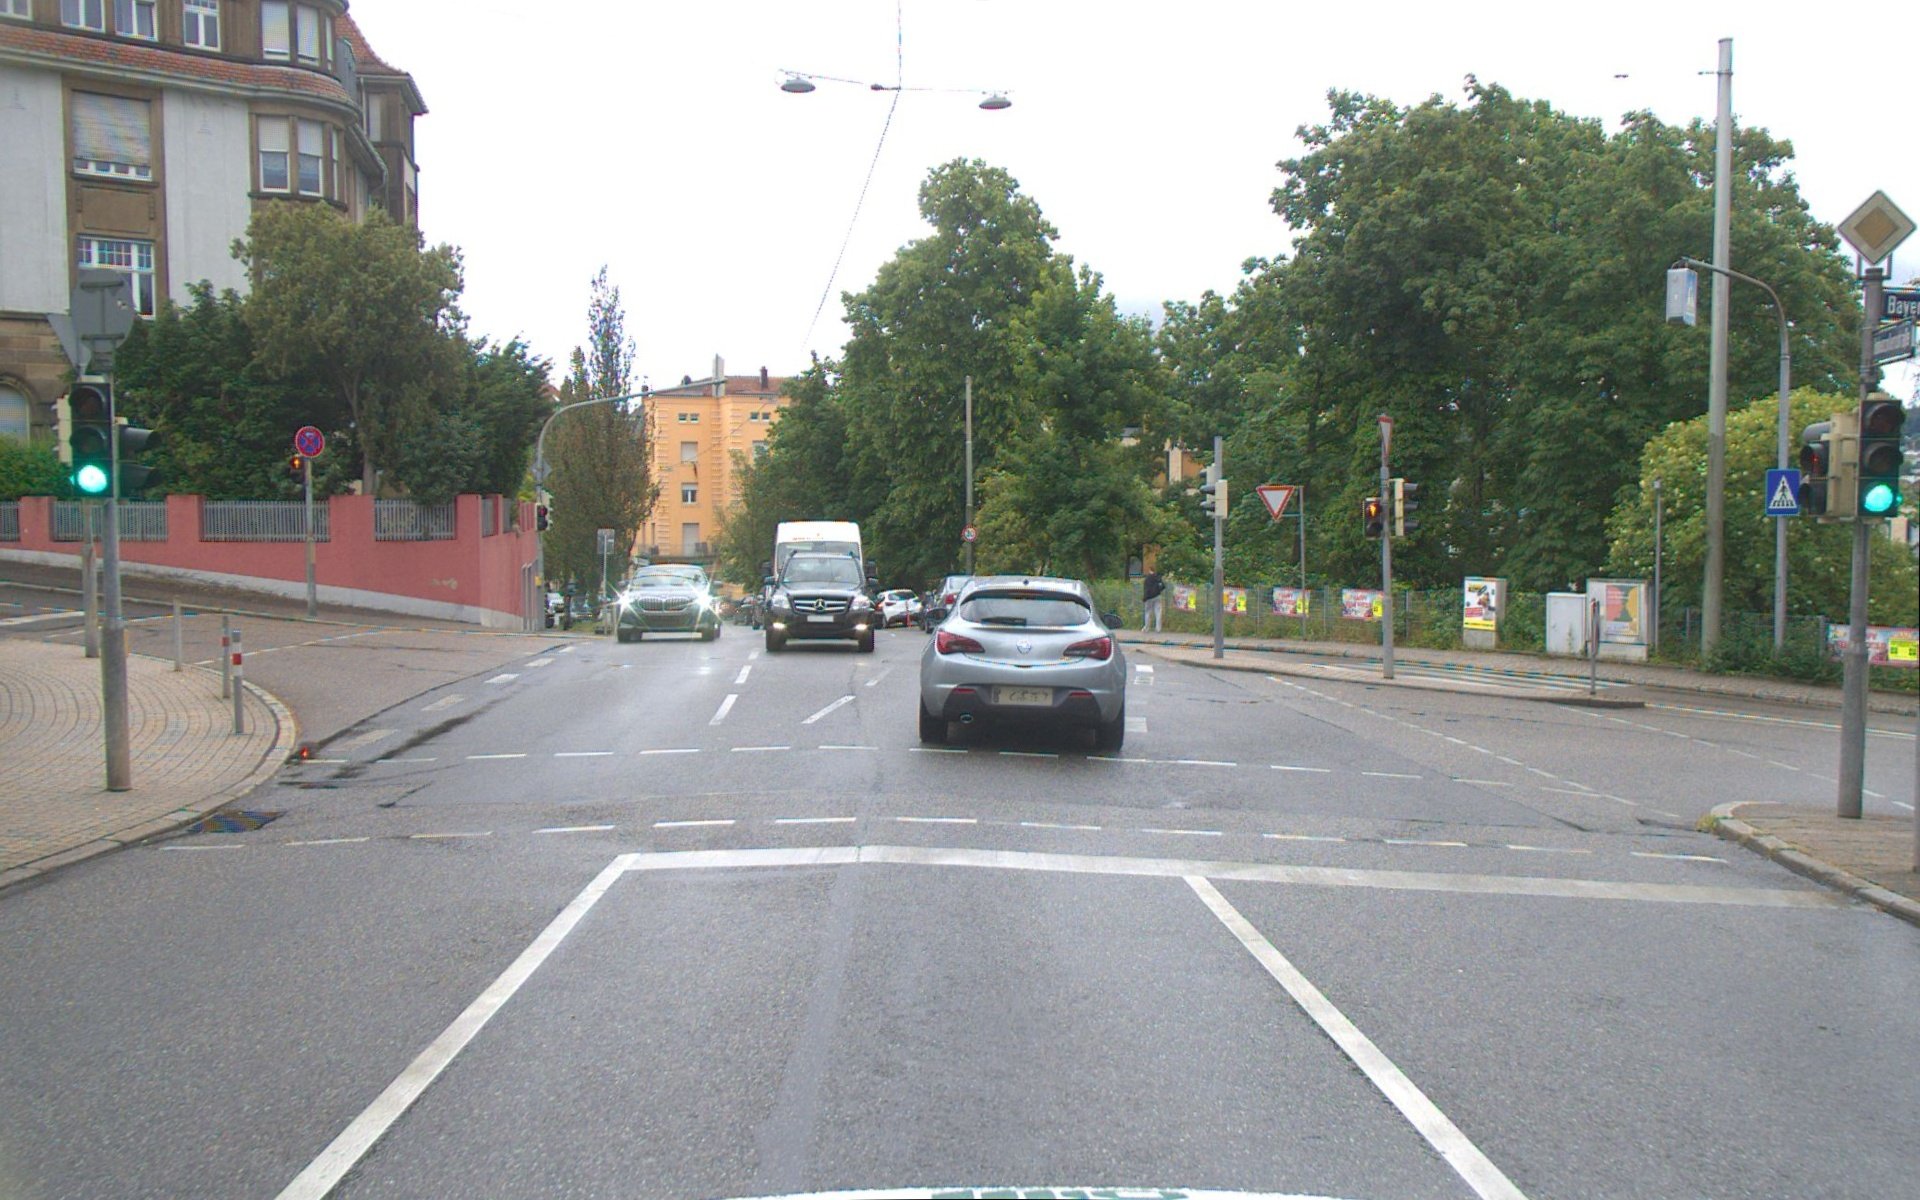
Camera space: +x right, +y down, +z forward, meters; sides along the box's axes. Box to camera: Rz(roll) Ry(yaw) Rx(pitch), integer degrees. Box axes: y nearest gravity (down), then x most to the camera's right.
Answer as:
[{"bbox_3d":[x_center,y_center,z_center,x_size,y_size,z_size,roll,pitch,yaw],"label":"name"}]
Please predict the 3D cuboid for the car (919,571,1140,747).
[{"bbox_3d":[0.527,0.453,15.650,1.778,1.454,3.999,0,1,-2],"label":"car"}]

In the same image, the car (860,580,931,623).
[{"bbox_3d":[-2.693,0.091,68.172,1.788,1.520,3.980,-6,1,-18],"label":"car"}]

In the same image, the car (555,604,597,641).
[{"bbox_3d":[-17.756,1.037,76.430,1.784,1.641,3.984,1,-1,-15],"label":"car"}]

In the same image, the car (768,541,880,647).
[{"bbox_3d":[-2.353,-0.135,28.702,1.786,1.681,4.342,1,1,-5],"label":"car"}]

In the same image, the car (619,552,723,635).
[{"bbox_3d":[-5.749,-0.200,33.424,1.818,1.512,5.359,-1,2,-7],"label":"car"}]

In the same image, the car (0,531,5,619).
[{"bbox_3d":[-17.765,-0.466,27.320,3.285,1.462,1.673,4,5,18],"label":"car"}]

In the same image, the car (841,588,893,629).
[{"bbox_3d":[-3.452,0.301,61.032,1.359,1.436,3.445,-1,0,-13],"label":"car"}]

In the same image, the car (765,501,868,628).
[{"bbox_3d":[-3.215,-0.728,36.952,2.076,2.590,5.533,-1,0,-5],"label":"car"}]

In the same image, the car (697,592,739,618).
[{"bbox_3d":[-15.677,0.337,106.972,1.790,1.492,3.975,-5,1,-21],"label":"car"}]

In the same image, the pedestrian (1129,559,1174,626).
[{"bbox_3d":[4.865,-0.181,42.031,0.753,1.633,0.961,-3,0,-16],"label":"pedestrian"}]

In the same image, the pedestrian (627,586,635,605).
[{"bbox_3d":[-27.634,-0.383,138.953,0.604,1.522,0.549,-1,2,-20],"label":"pedestrian"}]

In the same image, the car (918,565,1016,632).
[{"bbox_3d":[0.110,0.006,38.830,1.743,1.455,3.777,0,-2,-9],"label":"car"}]

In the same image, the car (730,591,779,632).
[{"bbox_3d":[-10.247,0.545,82.371,1.616,1.718,3.696,0,4,-20],"label":"car"}]
